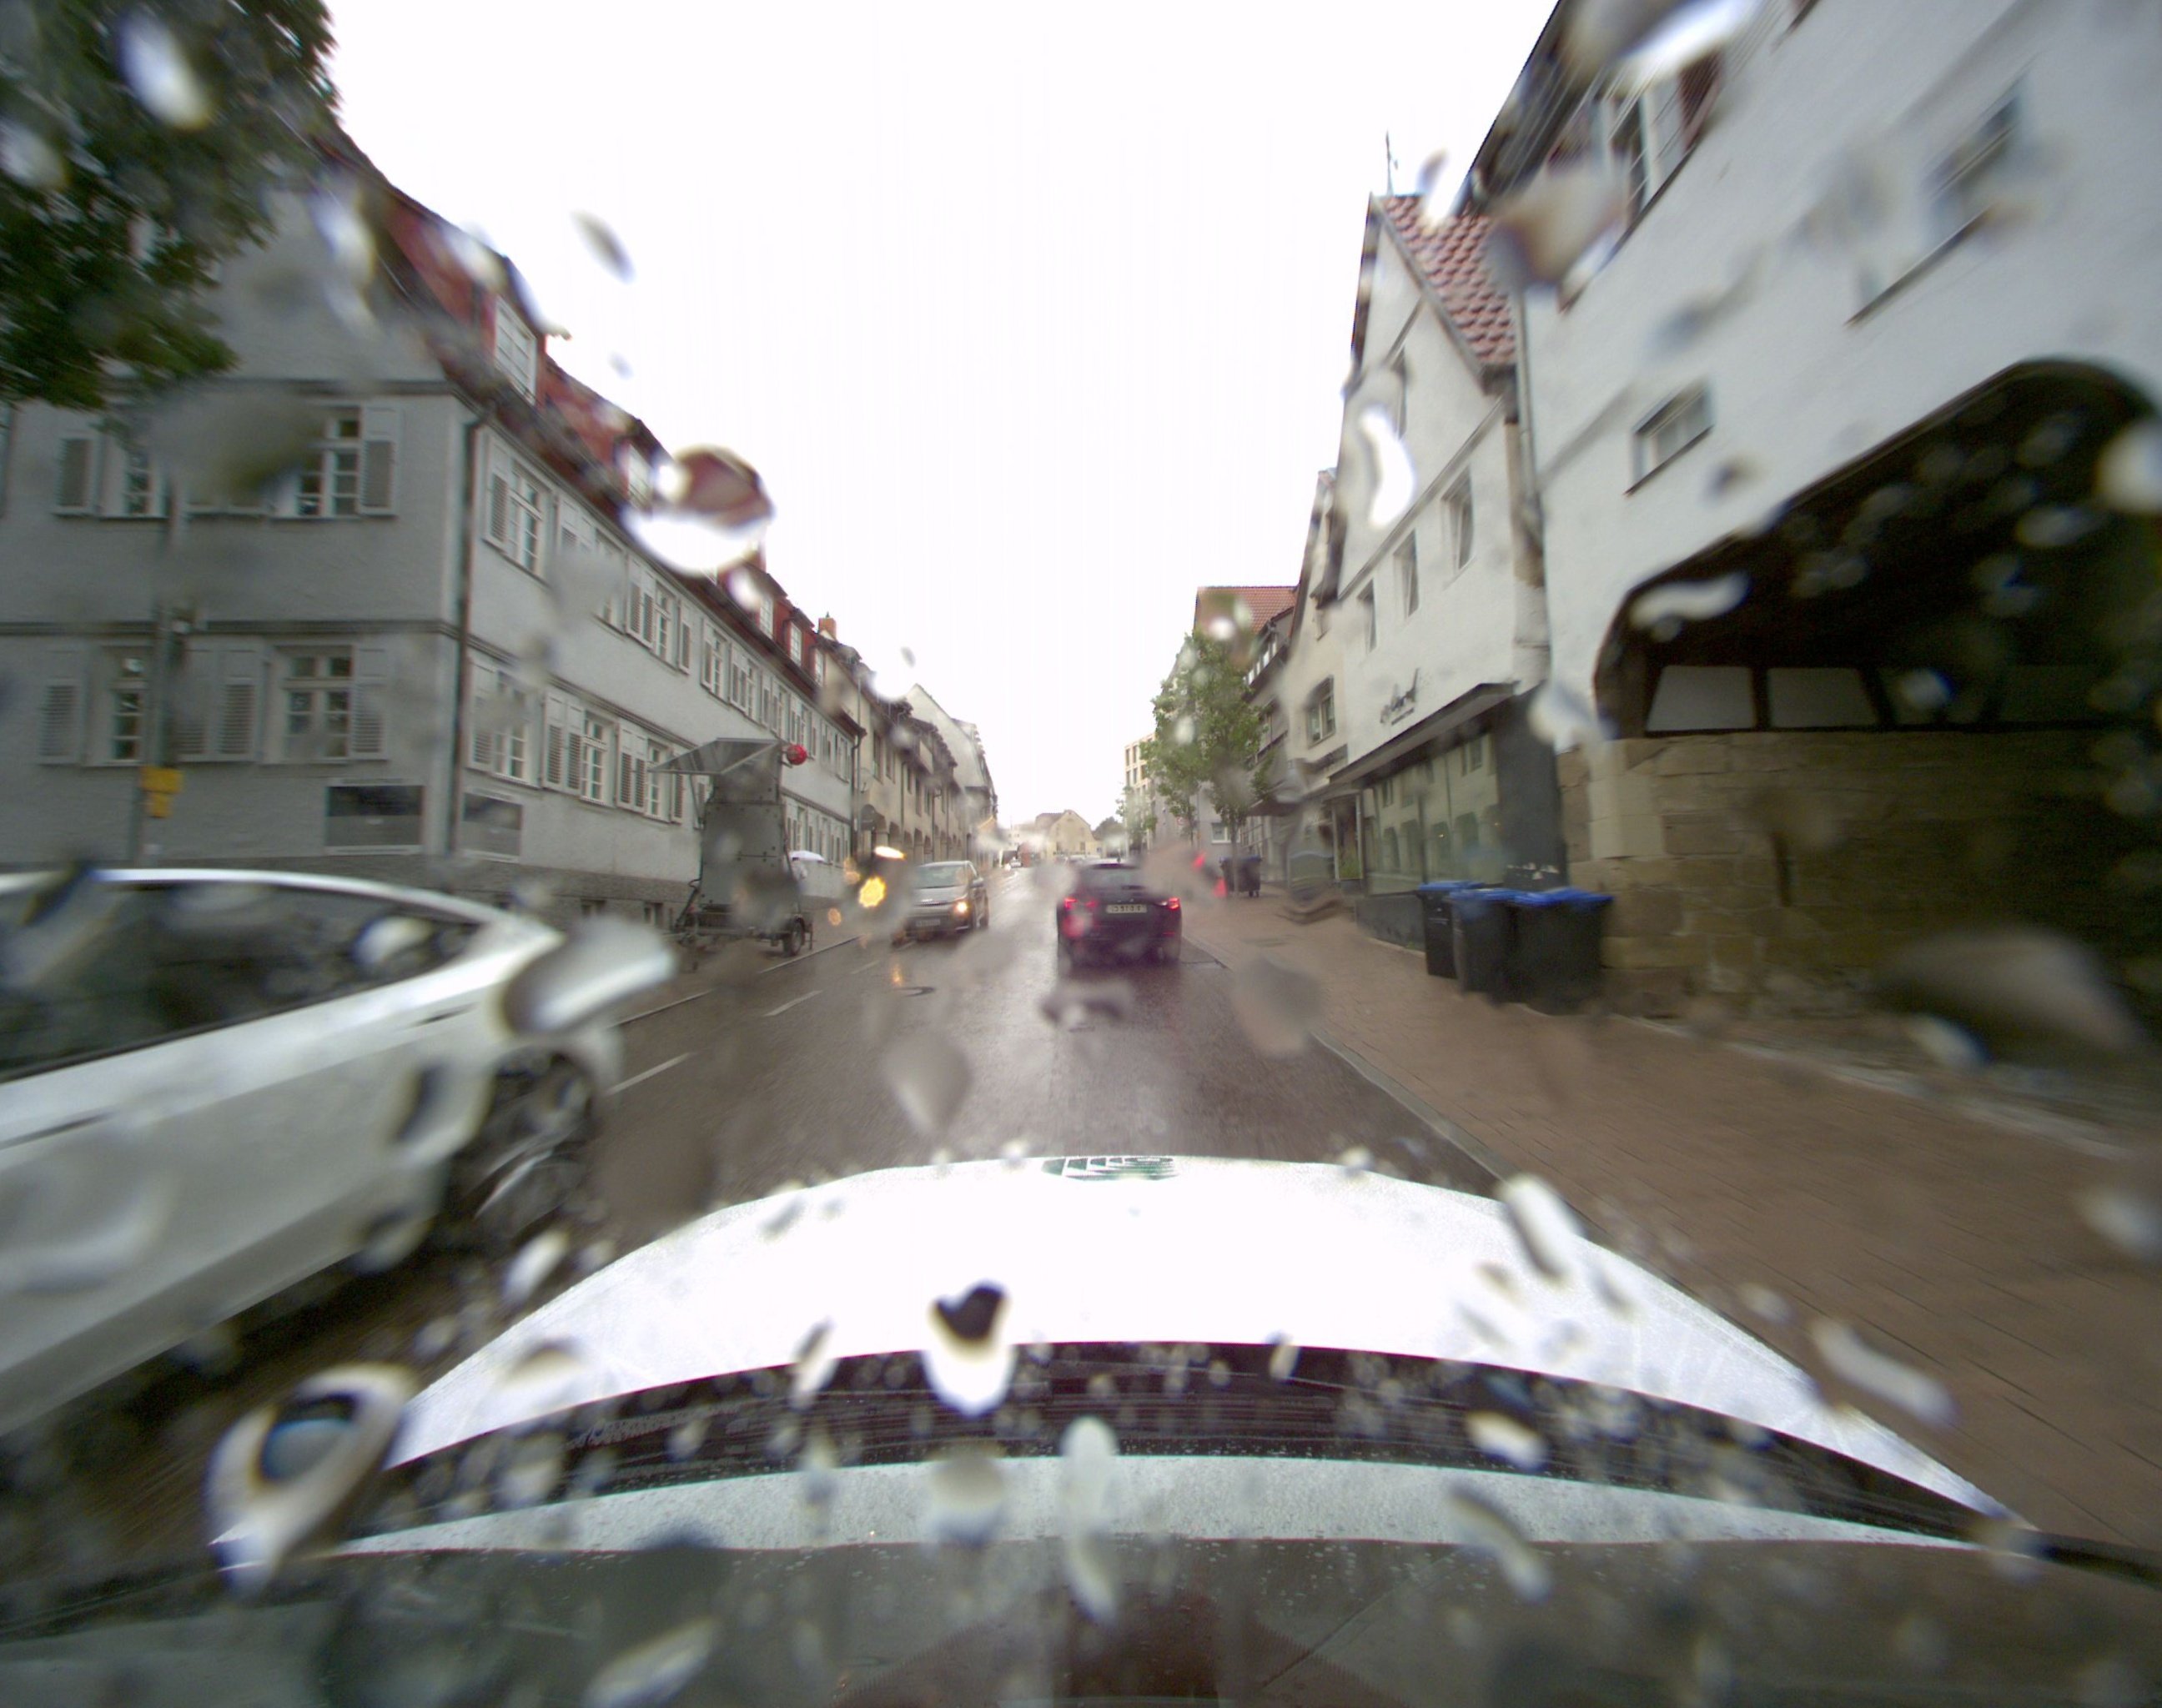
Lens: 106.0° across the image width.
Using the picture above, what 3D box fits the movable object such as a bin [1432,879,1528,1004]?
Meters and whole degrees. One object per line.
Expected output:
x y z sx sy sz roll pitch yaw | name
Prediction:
3.886 0.834 7.974 0.565 1.108 0.676 -3 1 2 | movable object such as a bin

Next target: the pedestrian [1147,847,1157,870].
5.368 0.353 61.503 0.702 1.725 0.833 0 0 2 | pedestrian

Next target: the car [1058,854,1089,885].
-0.472 0.949 47.094 1.624 1.530 3.994 -1 -5 -3 | car

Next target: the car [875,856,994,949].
-2.830 0.875 16.496 1.769 1.534 3.707 -4 0 -2 | car

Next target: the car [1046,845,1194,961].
0.543 0.664 12.869 1.880 1.448 4.357 -2 -1 1 | car

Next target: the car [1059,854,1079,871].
-1.141 0.781 76.415 1.700 1.552 3.601 0 0 -4 | car

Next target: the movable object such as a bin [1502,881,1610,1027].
4.251 0.876 7.324 0.622 1.205 0.605 -1 2 0 | movable object such as a bin

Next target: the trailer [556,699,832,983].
-5.512 -0.170 12.424 1.987 3.533 4.575 0 0 0 | trailer

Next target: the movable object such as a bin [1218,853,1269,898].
5.163 0.670 26.004 1.283 1.349 1.486 -2 -1 -2 | movable object such as a bin

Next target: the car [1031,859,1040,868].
-7.670 1.564 137.675 1.624 1.530 3.995 0 0 -3 | car

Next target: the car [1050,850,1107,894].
-0.023 0.666 31.228 1.848 1.473 4.003 -2 -1 3 | car

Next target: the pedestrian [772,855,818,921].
-6.943 0.807 19.804 0.704 1.530 1.046 1 0 2 | pedestrian

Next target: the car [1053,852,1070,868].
-2.463 0.789 104.192 1.987 2.013 3.998 -1 0 -1 | car

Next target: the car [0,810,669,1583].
-3.276 0.800 2.123 1.865 1.662 4.312 -4 0 4 | car

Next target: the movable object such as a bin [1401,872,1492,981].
3.976 0.776 8.906 0.656 1.062 0.614 -5 2 2 | movable object such as a bin

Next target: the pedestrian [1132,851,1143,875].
4.233 0.674 60.879 0.702 1.725 0.833 -2 -1 2 | pedestrian

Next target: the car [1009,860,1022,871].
-10.596 1.901 131.863 1.990 1.651 3.993 -2 -1 -5 | car
